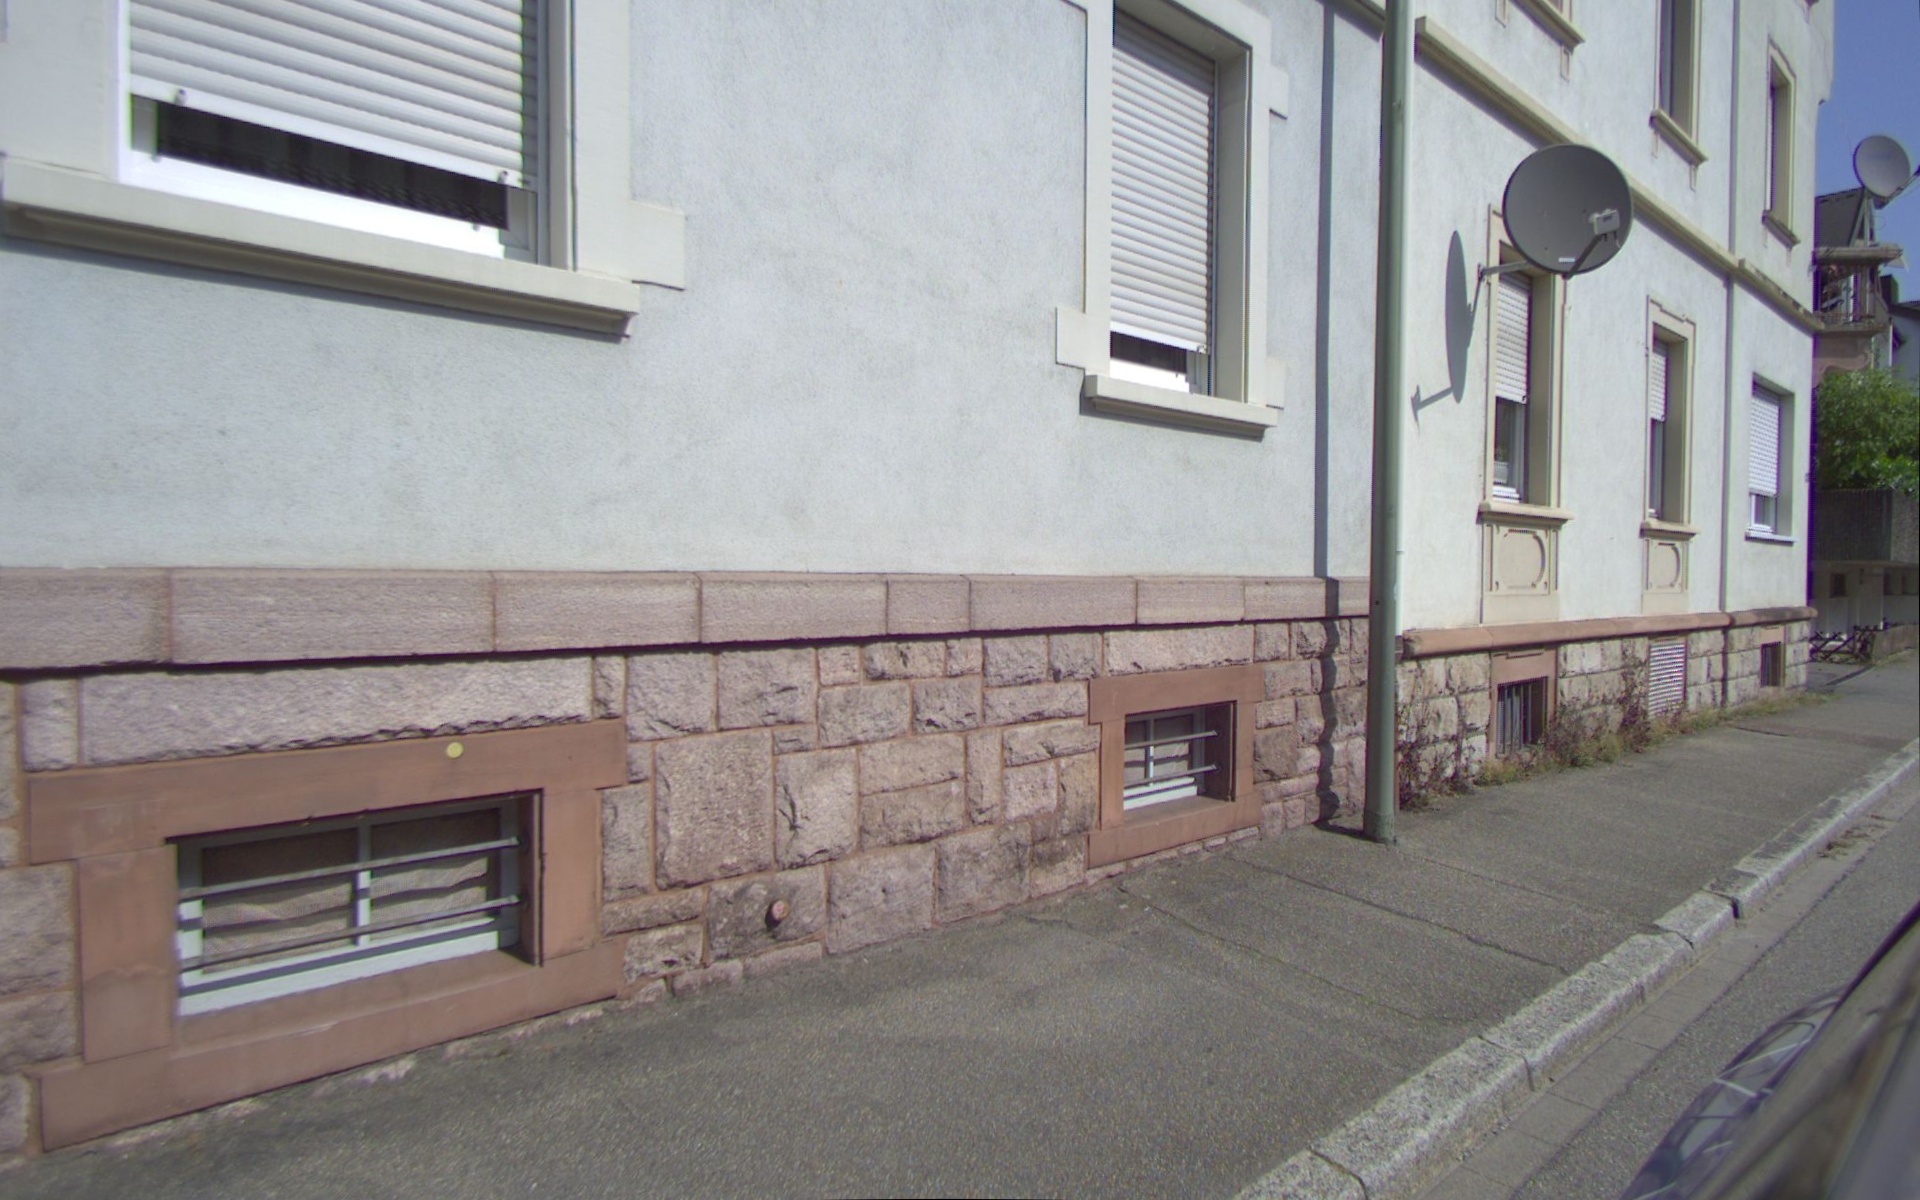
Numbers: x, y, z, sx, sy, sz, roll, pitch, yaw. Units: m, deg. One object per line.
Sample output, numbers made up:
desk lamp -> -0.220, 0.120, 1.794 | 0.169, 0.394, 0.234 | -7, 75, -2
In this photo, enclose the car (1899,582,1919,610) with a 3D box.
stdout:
car -> 52.794, -0.200, 54.020 | 1.672, 1.498, 3.830 | 1, 0, -43
